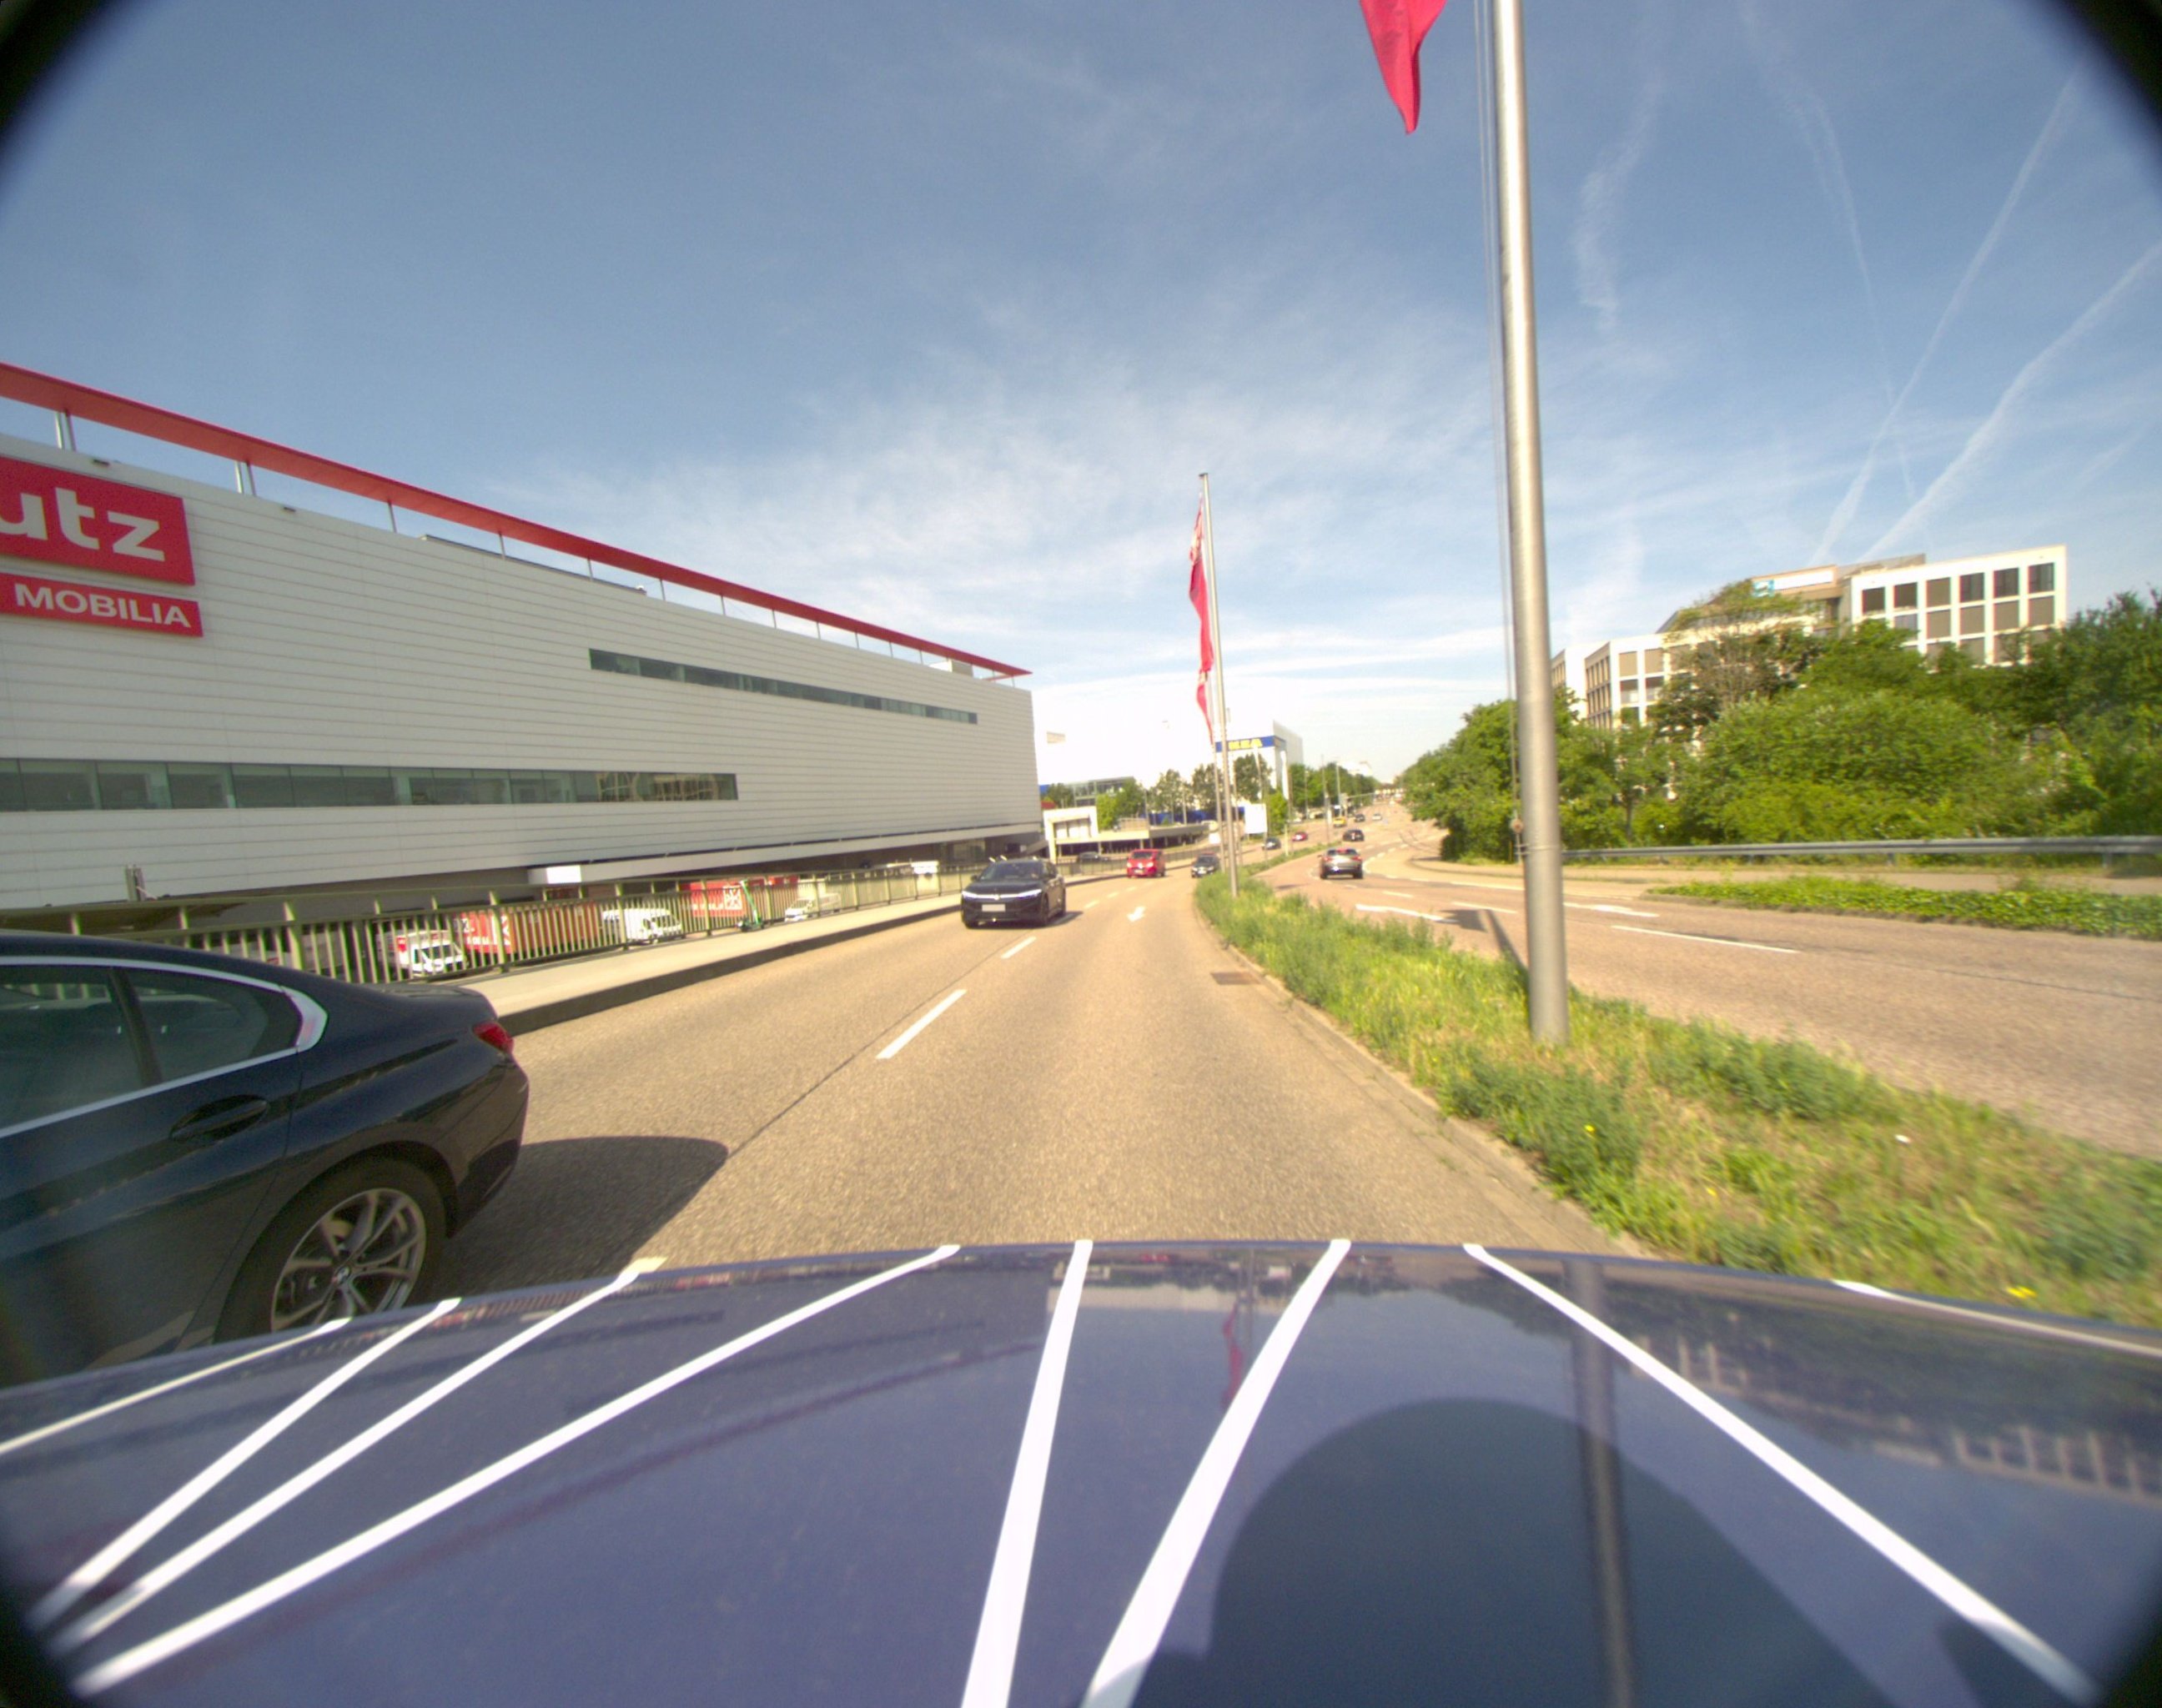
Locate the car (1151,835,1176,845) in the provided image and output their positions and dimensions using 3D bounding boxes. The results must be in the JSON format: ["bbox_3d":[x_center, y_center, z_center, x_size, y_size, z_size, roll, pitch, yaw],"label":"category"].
[{"bbox_3d":[15.893,-2.687,145.894,4.310,1.824,2.002,-3,2,18],"label":"car"}]

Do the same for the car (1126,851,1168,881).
[{"bbox_3d":[4.624,0.811,52.585,1.985,1.896,4.149,0,1,18],"label":"car"}]

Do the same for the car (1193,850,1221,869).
[{"bbox_3d":[12.016,0.529,72.257,1.774,1.648,4.150,-2,0,22],"label":"car"}]

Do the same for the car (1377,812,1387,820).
[{"bbox_3d":[65.208,-8.198,164.472,1.822,1.466,4.004,-2,4,25],"label":"car"}]

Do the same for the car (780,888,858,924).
[{"bbox_3d":[-20.503,4.066,59.891,2.127,1.994,6.018,-1,4,25],"label":"car"}]

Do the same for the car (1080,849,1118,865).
[{"bbox_3d":[2.340,0.380,98.959,4.406,1.723,1.865,-3,4,34],"label":"car"}]

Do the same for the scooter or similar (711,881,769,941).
[{"bbox_3d":[-7.177,1.179,16.051,0.512,1.136,1.481,-4,0,-2],"label":"scooter or similar"}]

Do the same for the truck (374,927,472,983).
[{"bbox_3d":[-39.636,6.024,45.732,5.997,2.911,2.134,-3,3,27],"label":"truck"}]

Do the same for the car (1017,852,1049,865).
[{"bbox_3d":[-6.645,0.581,104.565,3.861,1.368,1.813,-4,1,24],"label":"car"}]

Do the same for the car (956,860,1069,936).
[{"bbox_3d":[-1.509,0.970,18.318,1.860,1.520,4.146,-2,0,6],"label":"car"}]

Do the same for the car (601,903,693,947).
[{"bbox_3d":[-29.904,4.894,52.353,5.998,2.606,2.134,-4,3,24],"label":"car"}]

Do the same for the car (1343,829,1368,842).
[{"bbox_3d":[36.457,-2.429,101.048,1.860,1.521,4.142,-3,3,3],"label":"car"}]

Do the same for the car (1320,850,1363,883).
[{"bbox_3d":[12.541,0.595,36.770,1.786,1.476,4.265,-1,0,17],"label":"car"}]

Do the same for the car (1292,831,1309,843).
[{"bbox_3d":[33.157,-2.536,114.806,1.822,1.466,4.004,-2,4,25],"label":"car"}]

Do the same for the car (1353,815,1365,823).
[{"bbox_3d":[59.892,-7.610,163.593,1.822,1.466,4.004,-2,4,27],"label":"car"}]

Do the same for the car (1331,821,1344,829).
[{"bbox_3d":[50.092,-5.673,148.273,1.822,1.466,4.004,-2,4,25],"label":"car"}]

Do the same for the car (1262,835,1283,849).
[{"bbox_3d":[24.882,-1.568,98.707,1.822,1.466,4.004,-2,4,25],"label":"car"}]

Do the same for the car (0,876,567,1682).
[{"bbox_3d":[-3.100,1.010,0.851,1.792,1.475,4.517,-4,3,1],"label":"car"}]

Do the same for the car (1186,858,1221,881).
[{"bbox_3d":[8.414,1.010,51.882,1.847,1.410,4.004,-1,1,16],"label":"car"}]

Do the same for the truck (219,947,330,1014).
[{"bbox_3d":[-41.944,6.492,39.481,5.997,2.911,2.134,-3,3,27],"label":"truck"}]
